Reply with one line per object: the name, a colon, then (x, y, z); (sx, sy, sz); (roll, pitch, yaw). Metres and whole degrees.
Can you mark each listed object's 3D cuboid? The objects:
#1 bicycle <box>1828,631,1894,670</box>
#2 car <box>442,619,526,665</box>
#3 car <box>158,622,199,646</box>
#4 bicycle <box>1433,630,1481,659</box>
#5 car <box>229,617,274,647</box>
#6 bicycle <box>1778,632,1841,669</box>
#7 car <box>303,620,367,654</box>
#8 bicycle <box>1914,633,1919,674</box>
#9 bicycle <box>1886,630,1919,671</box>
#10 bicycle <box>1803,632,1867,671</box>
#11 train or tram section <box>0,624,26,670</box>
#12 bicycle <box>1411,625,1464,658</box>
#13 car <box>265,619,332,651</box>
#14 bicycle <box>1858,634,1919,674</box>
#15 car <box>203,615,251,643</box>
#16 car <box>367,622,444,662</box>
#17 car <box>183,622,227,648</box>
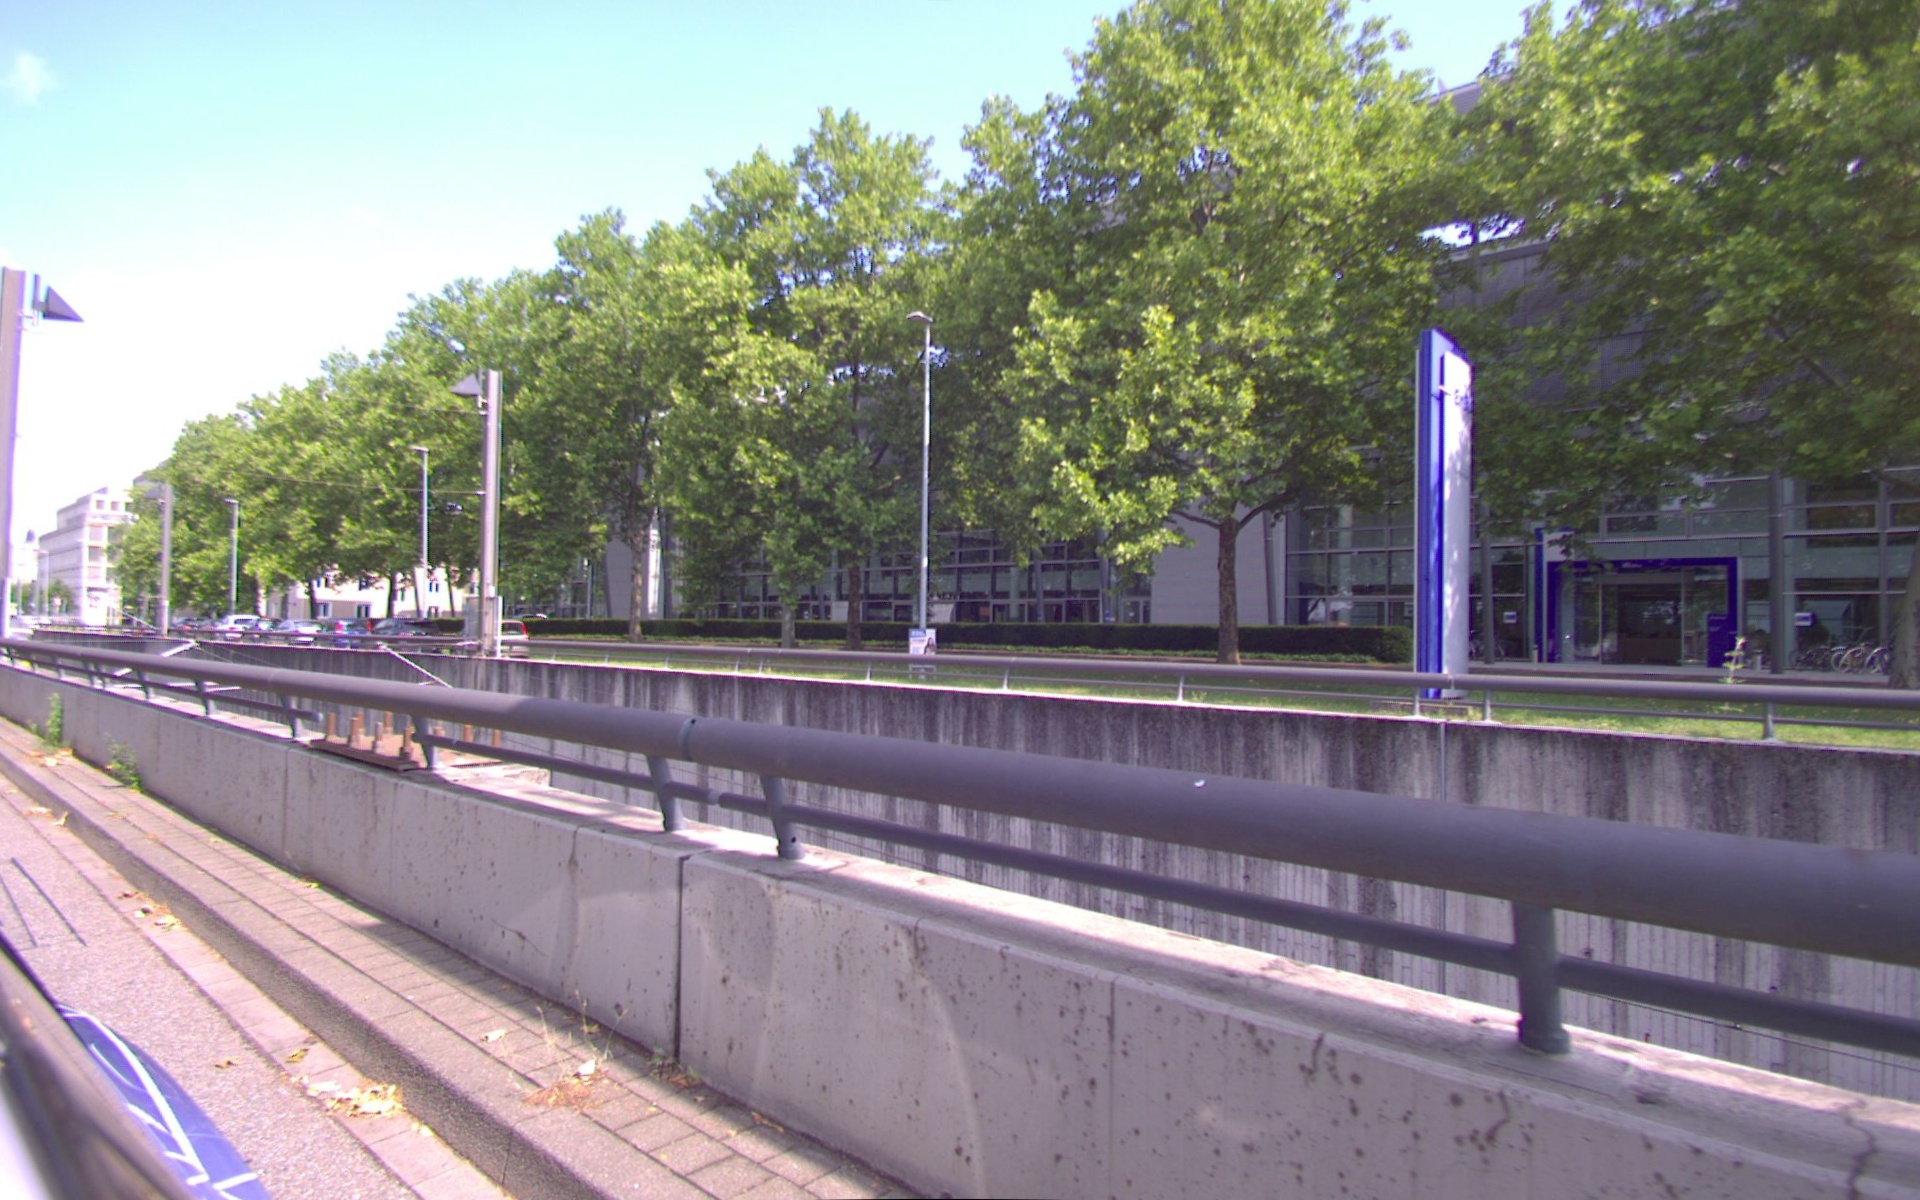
bicycle: (27.475, 1.527, 30.846); (2.232, 1.158, 0.638); (1, -2, -25)
car: (-16.143, 1.391, 34.258); (3.155, 1.467, 1.402); (-1, -2, 41)
car: (-46.007, 1.981, 59.592); (3.183, 1.387, 1.292); (-1, -2, 41)
bicycle: (18.975, 1.679, 38.697); (0.586, 1.031, 2.339); (0, -1, -3)
car: (-34.640, 1.552, 49.488); (2.744, 1.387, 1.152); (-1, -2, 41)
bicycle: (27.058, 1.593, 32.226); (2.232, 1.158, 0.638); (1, -2, -25)
car: (-26.564, 1.569, 42.981); (2.886, 1.387, 1.495); (-1, -2, 41)
bicycle: (28.031, 1.514, 28.743); (2.232, 1.158, 0.638); (1, -2, -28)
bicycle: (27.892, 1.467, 29.450); (2.232, 1.158, 0.638); (1, -2, -27)
bicycle: (27.308, 1.587, 31.585); (2.232, 1.158, 0.638); (1, 0, -25)
train or tram section: (-55.378, 2.650, 57.912); (6.246, 2.477, 2.187); (-1, 0, 42)
bicycle: (18.210, 1.568, 38.651); (0.802, 1.186, 2.339); (0, -1, -3)
car: (-30.162, 1.587, 46.105); (3.894, 1.387, 1.559); (-1, -2, 41)
bicycle: (27.761, 1.611, 30.164); (2.232, 1.158, 0.638); (1, -2, -26)
car: (-37.975, 1.492, 52.425); (3.183, 1.387, 1.292); (-1, -2, 41)
car: (-21.227, 1.571, 38.698); (3.155, 1.445, 1.562); (-1, -2, 41)
car: (-41.769, 1.922, 55.940); (3.183, 1.387, 1.292); (-1, -2, 41)
